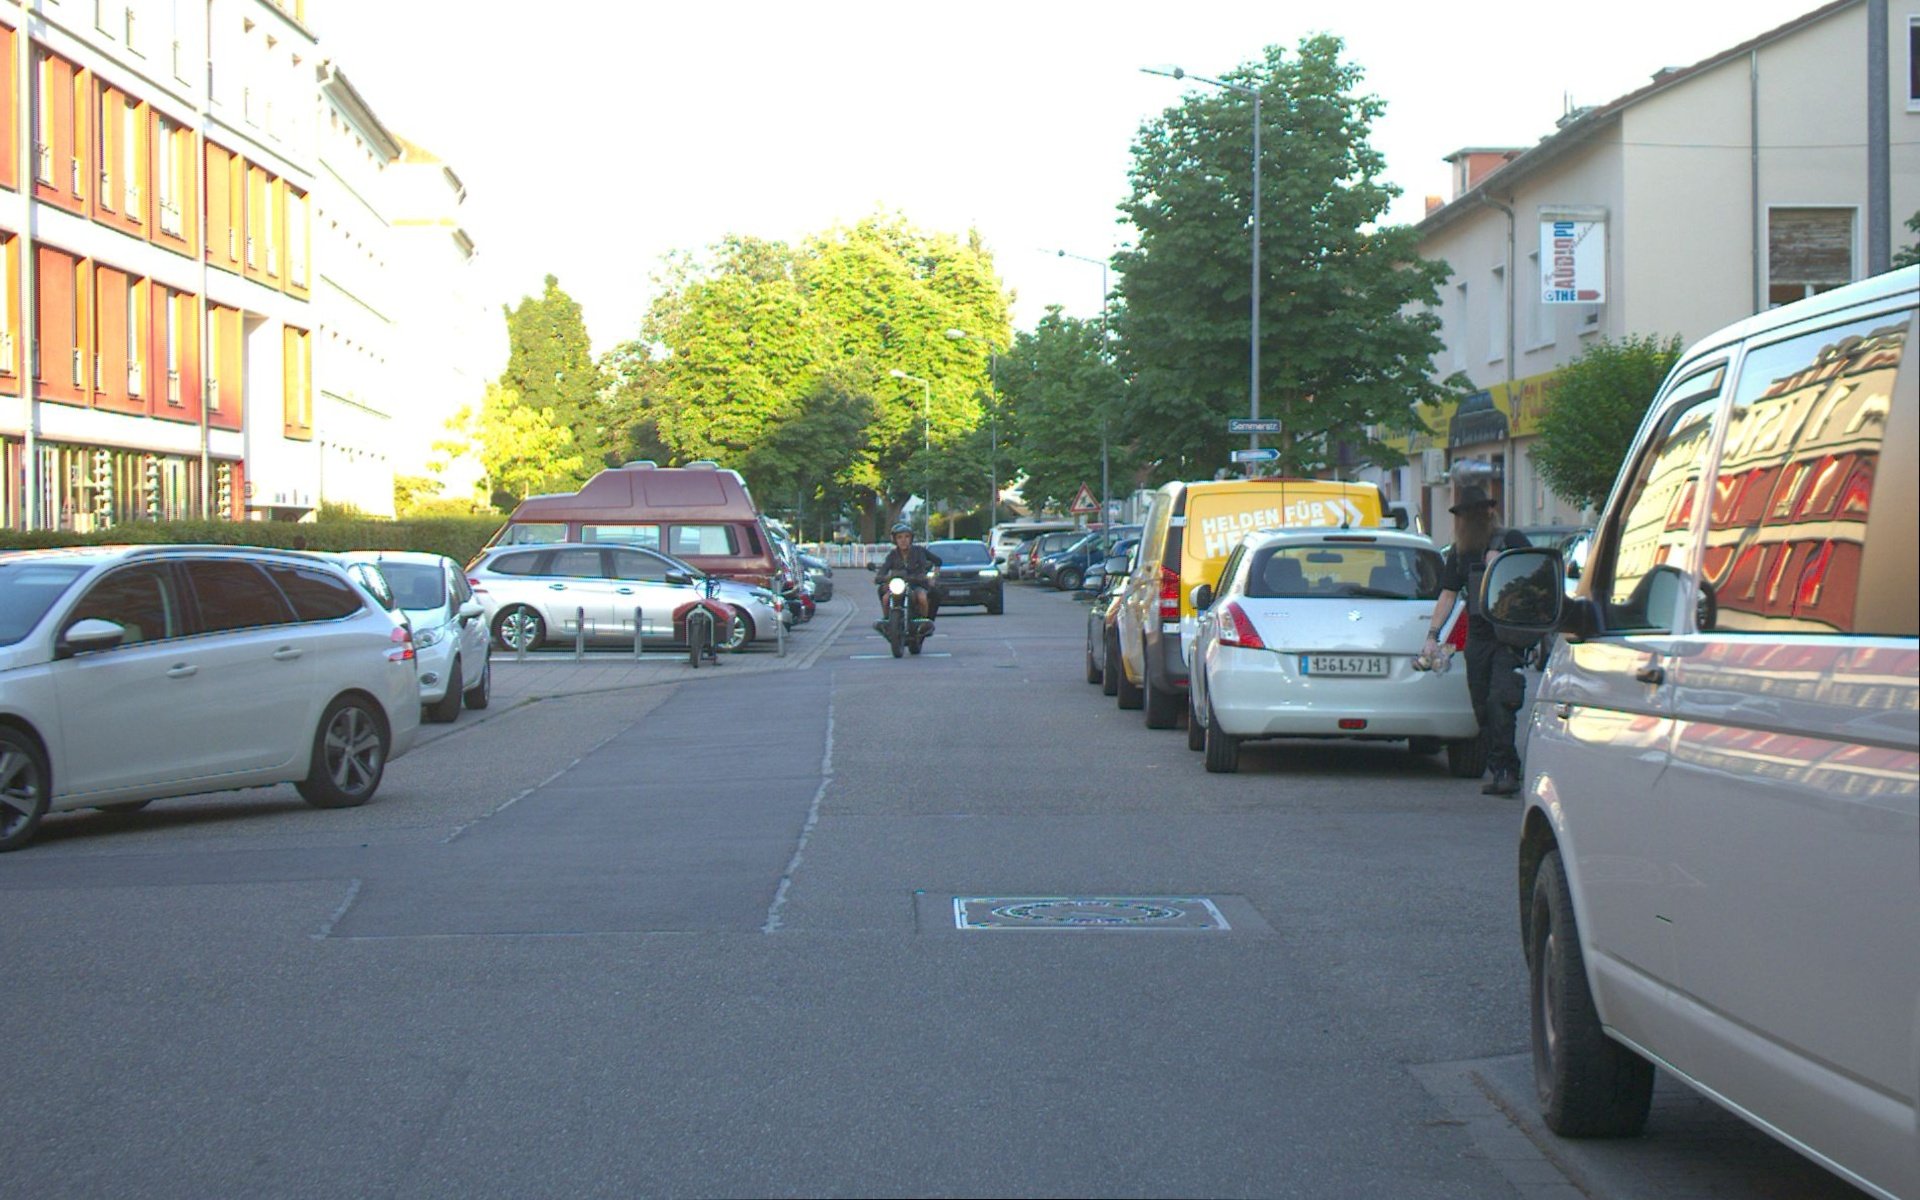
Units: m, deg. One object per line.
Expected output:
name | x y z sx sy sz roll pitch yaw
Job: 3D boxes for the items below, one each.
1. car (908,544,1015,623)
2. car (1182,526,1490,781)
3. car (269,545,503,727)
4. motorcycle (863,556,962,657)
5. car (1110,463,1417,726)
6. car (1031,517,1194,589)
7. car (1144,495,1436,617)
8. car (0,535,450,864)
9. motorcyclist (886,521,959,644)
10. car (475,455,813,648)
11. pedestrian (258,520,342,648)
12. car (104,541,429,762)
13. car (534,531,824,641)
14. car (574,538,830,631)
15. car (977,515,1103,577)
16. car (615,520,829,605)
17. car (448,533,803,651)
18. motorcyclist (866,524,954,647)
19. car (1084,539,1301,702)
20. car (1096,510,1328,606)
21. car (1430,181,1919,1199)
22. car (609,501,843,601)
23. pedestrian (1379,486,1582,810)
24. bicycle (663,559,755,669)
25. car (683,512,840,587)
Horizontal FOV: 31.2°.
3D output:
car | 0.063 -0.352 70.230 1.780 1.512 3.999 -1 1 5
car | 2.316 0.275 21.994 1.675 1.472 3.861 0 1 2
car | -5.133 0.274 31.159 1.650 1.525 4.018 0 1 -3
motorcycle | -0.591 0.069 43.930 0.846 1.205 2.074 -3 1 9
car | 2.292 -0.087 27.242 1.893 1.877 5.082 0 1 -1
car | 4.408 -1.368 99.699 4.478 1.905 1.688 -2 1 -5
car | 5.913 -0.807 62.107 4.990 1.976 2.220 -2 1 0
car | -4.727 0.455 17.829 1.818 1.517 4.592 -1 1 26
motorcyclist | -0.483 -0.231 44.425 0.787 1.535 0.545 -3 1 10
car | -4.425 -0.693 48.610 4.511 2.575 2.000 1 1 1
pedestrian | -7.923 -0.198 41.303 0.832 1.496 0.798 1 1 0
car | -5.165 0.330 26.060 1.703 1.529 3.844 0 1 0
car | -4.143 -0.223 51.186 4.209 1.533 1.791 1 1 -2
car | -4.378 -0.280 58.796 4.209 1.484 1.850 1 1 1
car | 2.667 -1.801 115.298 3.967 1.905 2.050 -2 1 -5
car | -4.884 -0.778 71.041 4.256 1.646 1.888 1 1 0
car | -4.440 -0.117 46.042 4.615 1.455 1.881 1 1 -3
motorcyclist | -0.627 -0.189 43.657 0.890 1.500 0.969 -3 1 10
car | 2.163 0.147 32.929 1.721 1.419 4.253 1 1 -1
car | 5.625 -0.953 77.270 4.944 1.951 2.049 -2 1 -2
car | 2.339 0.331 6.759 1.861 2.032 5.545 -2 1 -2
car | -4.977 -1.053 73.592 4.850 2.014 1.906 1 1 0
pedestrian | 2.876 0.246 18.958 0.889 1.716 0.958 1 1 21
bicycle | -2.954 0.145 40.741 0.808 1.217 2.865 1 1 1
car | -5.877 -1.496 102.099 4.533 2.127 2.000 1 1 0
